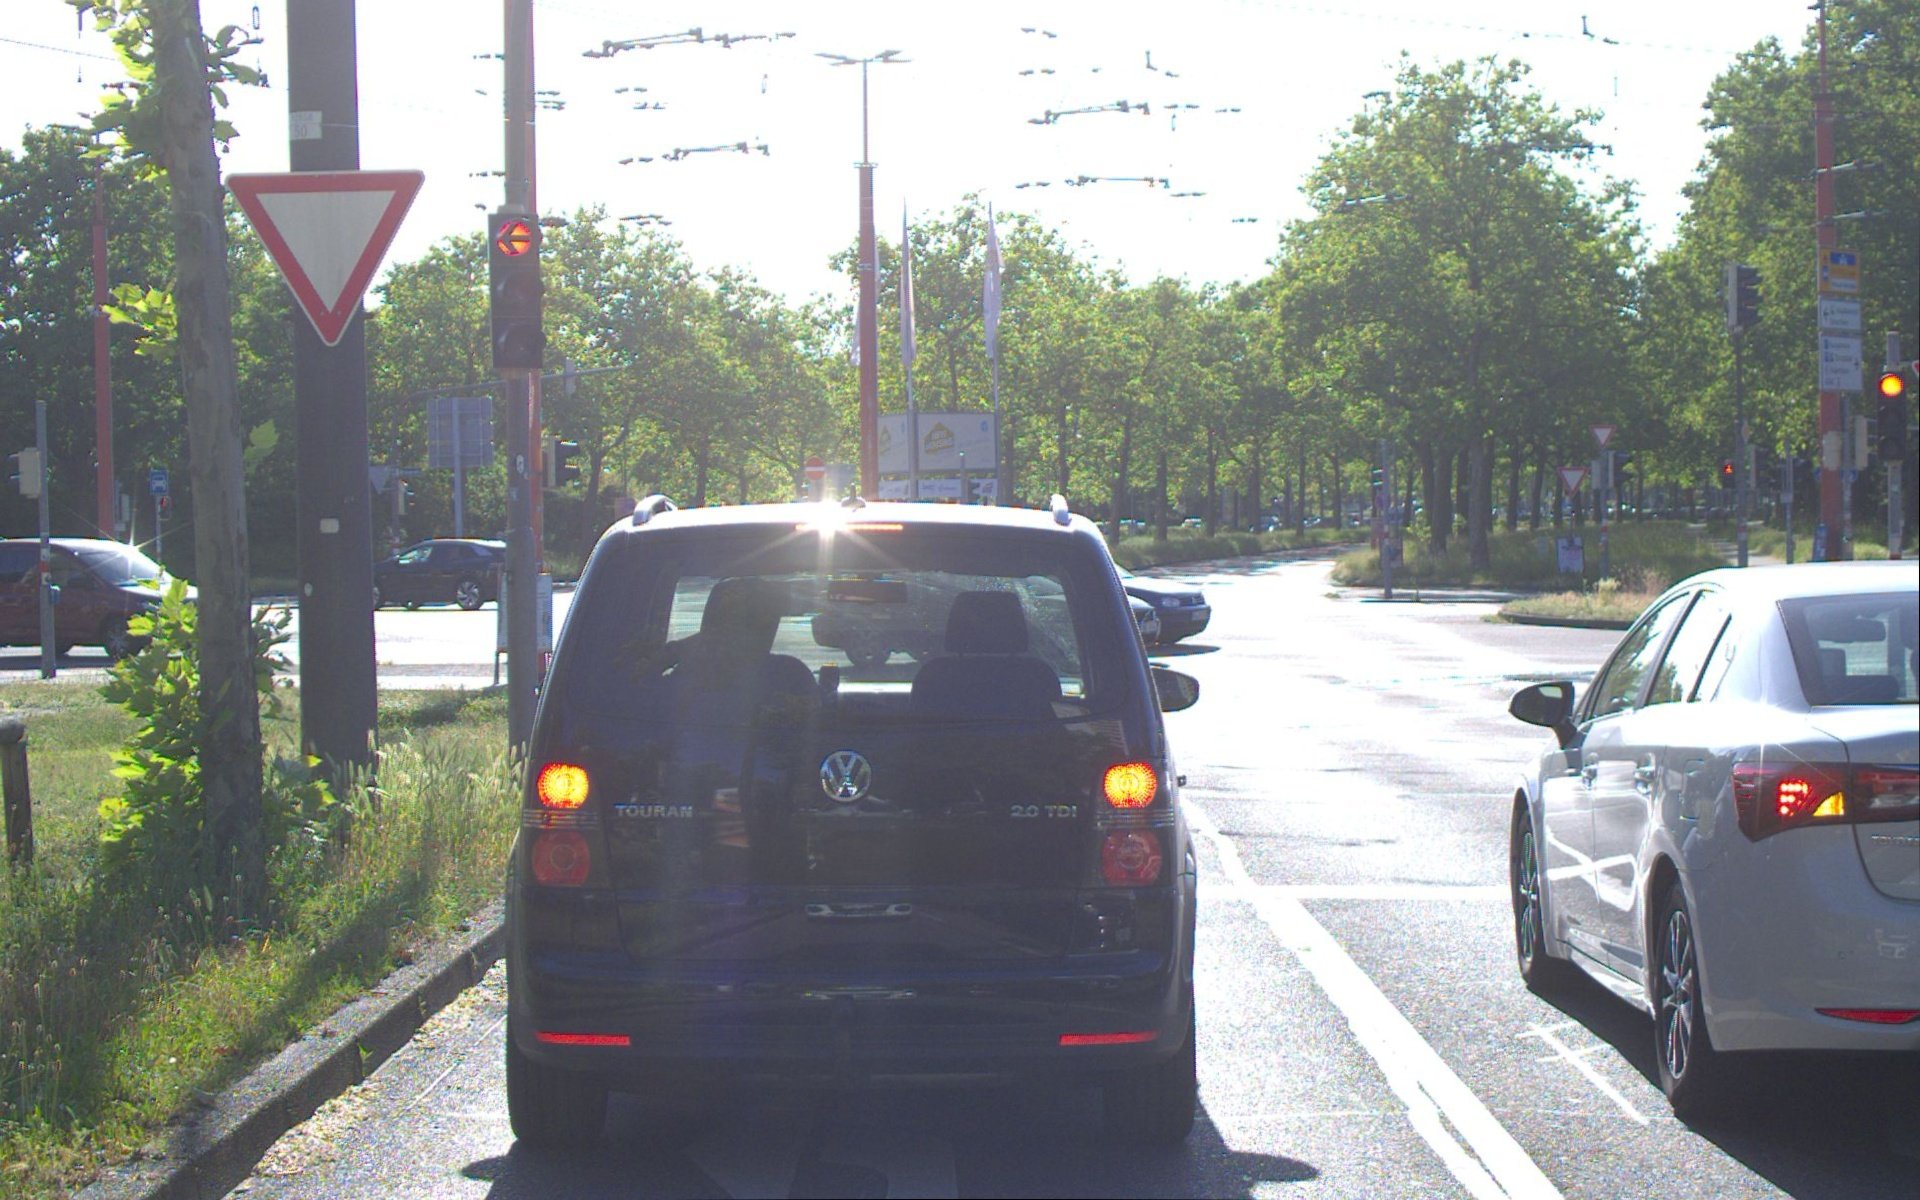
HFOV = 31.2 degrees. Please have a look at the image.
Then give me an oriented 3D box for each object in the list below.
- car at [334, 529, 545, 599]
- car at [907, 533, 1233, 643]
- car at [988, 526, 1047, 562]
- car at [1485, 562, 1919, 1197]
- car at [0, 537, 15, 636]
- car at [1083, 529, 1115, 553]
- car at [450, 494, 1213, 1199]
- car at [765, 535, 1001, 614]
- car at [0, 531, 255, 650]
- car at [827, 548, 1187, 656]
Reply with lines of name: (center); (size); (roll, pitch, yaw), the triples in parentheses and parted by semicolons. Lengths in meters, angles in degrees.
car: (-12.004, -0.835, 79.323); (4.459, 1.590, 1.997); (0, 1, 26)
car: (1.526, -0.186, 48.068); (4.226, 1.474, 1.751); (0, 1, 30)
car: (2.771, -2.671, 164.328); (1.994, 1.679, 4.826); (0, 1, 11)
car: (2.689, 0.629, 10.078); (1.715, 1.449, 4.144); (0, 1, 1)
car: (-18.399, -0.220, 58.313); (4.557, 1.662, 1.840); (0, 1, 28)
car: (7.942, -3.383, 196.666); (1.658, 1.305, 3.815); (0, 1, 5)
car: (-0.315, 0.546, 9.877); (1.737, 1.635, 4.000); (0, 1, -1)
car: (-1.589, -0.536, 70.971); (4.459, 1.590, 1.997); (0, 1, 26)
car: (-12.923, -0.155, 51.696); (4.350, 1.726, 1.840); (0, 1, 28)
car: (0.591, 0.014, 44.221); (4.311, 1.322, 1.759); (0, 1, 29)
